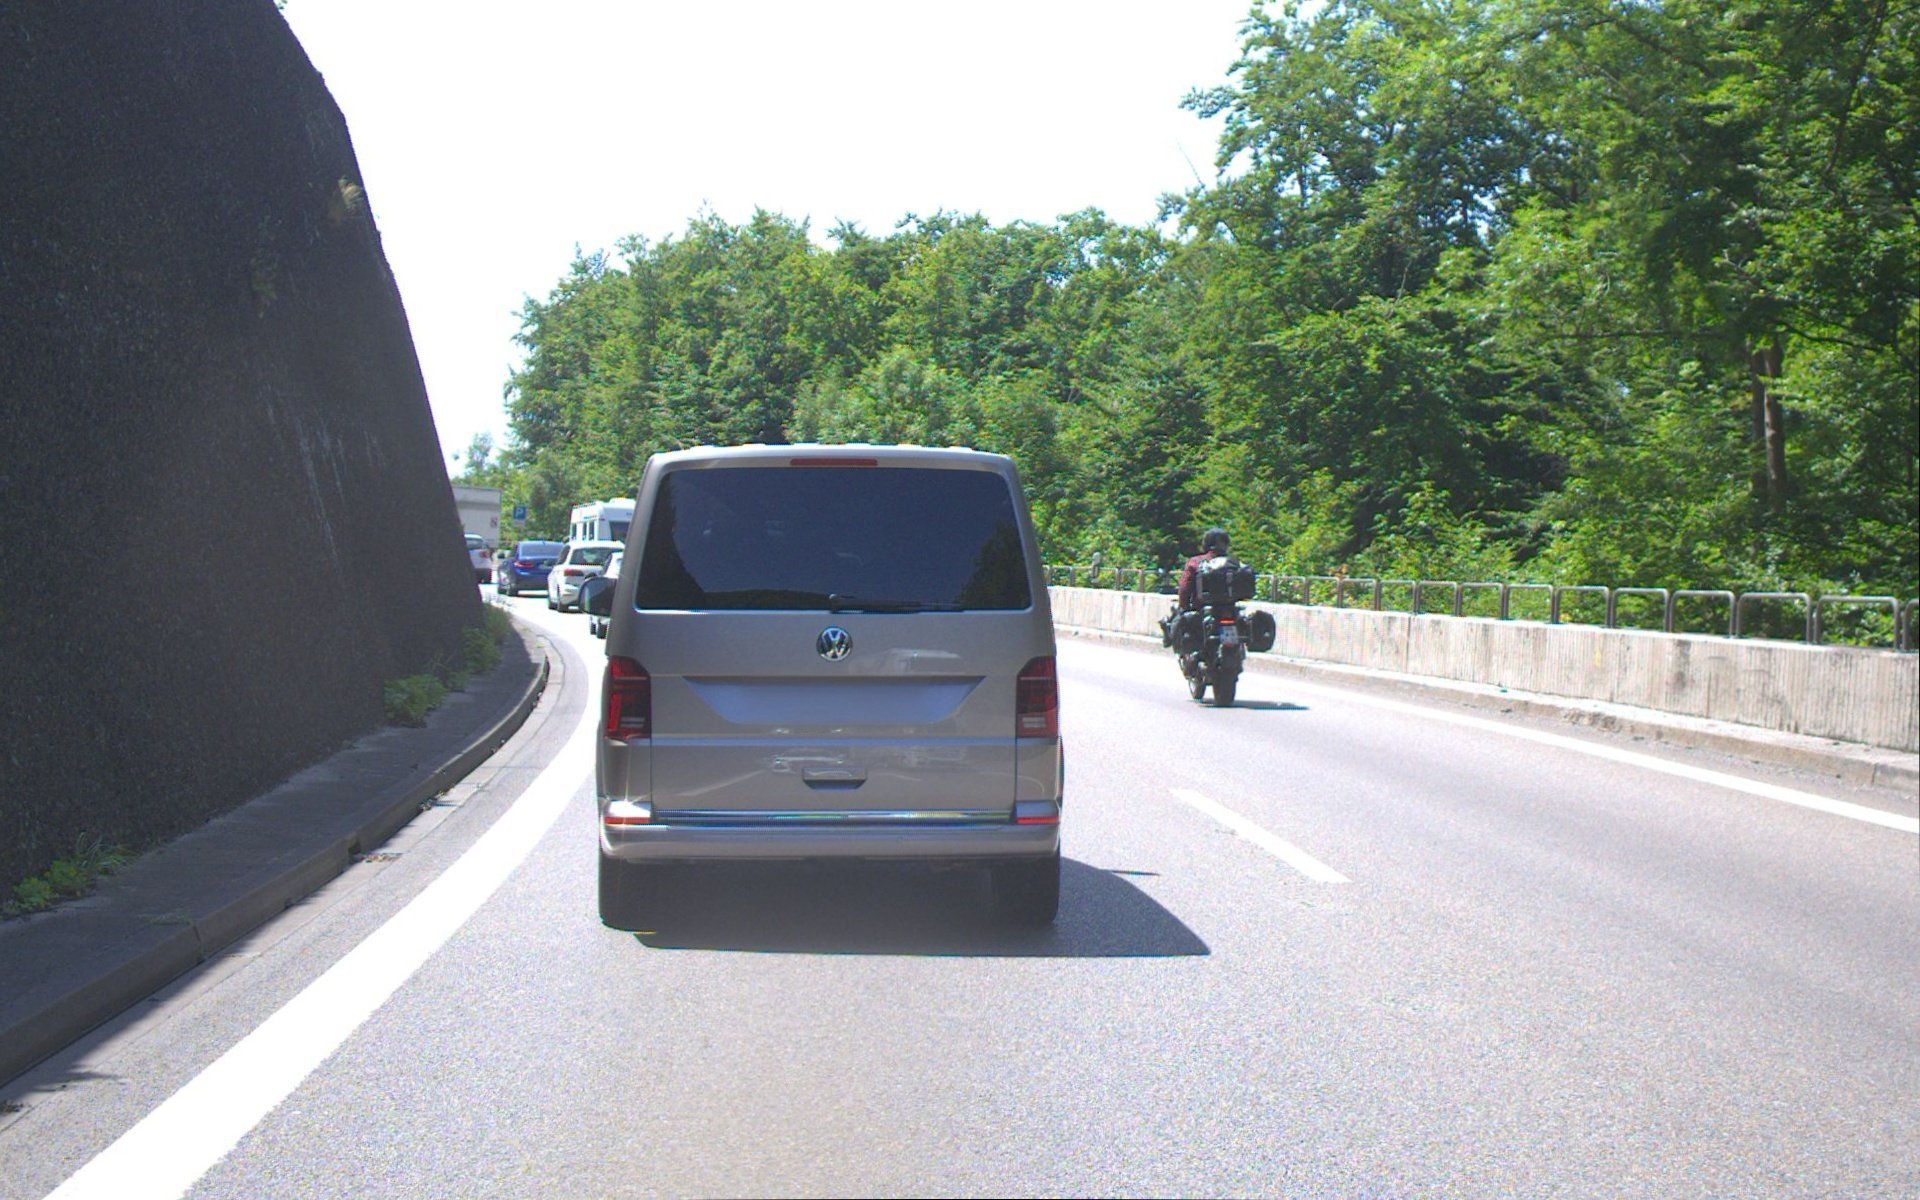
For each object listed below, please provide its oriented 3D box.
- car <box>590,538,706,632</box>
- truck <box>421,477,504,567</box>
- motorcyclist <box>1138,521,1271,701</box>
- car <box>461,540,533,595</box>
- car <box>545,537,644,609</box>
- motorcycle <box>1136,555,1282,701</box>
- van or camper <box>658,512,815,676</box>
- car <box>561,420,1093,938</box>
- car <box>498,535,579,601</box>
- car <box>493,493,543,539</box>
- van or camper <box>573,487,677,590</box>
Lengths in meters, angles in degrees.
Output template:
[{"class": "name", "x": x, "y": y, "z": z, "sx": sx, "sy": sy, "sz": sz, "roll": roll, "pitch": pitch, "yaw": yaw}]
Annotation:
[{"class": "car", "x": -5.152, "y": -0.271, "z": 57.095, "sx": 1.771, "sy": 1.467, "sz": 4.001, "roll": 1, "pitch": 1, "yaw": -3}, {"class": "truck", "x": -21.379, "y": -3.308, "z": 147.396, "sx": 2.924, "sy": 3.674, "sz": 7.727, "roll": 1, "pitch": 1, "yaw": -12}, {"class": "motorcyclist", "x": 2.495, "y": 0.104, "z": 35.264, "sx": 1.060, "sy": 1.794, "sz": 1.338, "roll": 1, "pitch": 1, "yaw": -8}, {"class": "car", "x": -14.251, "y": -1.004, "z": 105.647, "sx": 1.993, "sy": 1.612, "sz": 4.001, "roll": 1, "pitch": 1, "yaw": -10}, {"class": "car", "x": -7.959, "y": -0.605, "z": 74.619, "sx": 1.862, "sy": 1.481, "sz": 4.001, "roll": 1, "pitch": 1, "yaw": -9}, {"class": "motorcycle", "x": 2.517, "y": 0.260, "z": 35.146, "sx": 0.972, "sy": 1.415, "sz": 2.681, "roll": 1, "pitch": 1, "yaw": -7}, {"class": "van or camper", "x": -2.851, "y": -0.096, "z": 43.147, "sx": 1.853, "sy": 1.935, "sz": 4.166, "roll": 1, "pitch": 1, "yaw": -5}, {"class": "car", "x": -0.768, "y": 0.270, "z": 15.398, "sx": 1.940, "sy": 1.924, "sz": 4.695, "roll": 1, "pitch": 1, "yaw": -7}, {"class": "car", "x": -10.953, "y": -0.846, "z": 89.186, "sx": 1.857, "sy": 1.614, "sz": 4.001, "roll": 1, "pitch": 1, "yaw": -10}, {"class": "car", "x": -20.155, "y": -3.813, "z": 156.799, "sx": 1.993, "sy": 2.007, "sz": 4.001, "roll": 1, "pitch": 1, "yaw": -11}, {"class": "van or camper", "x": -10.423, "y": -1.940, "z": 106.468, "sx": 2.603, "sy": 2.845, "sz": 6.337, "roll": 5, "pitch": 1, "yaw": -9}]
